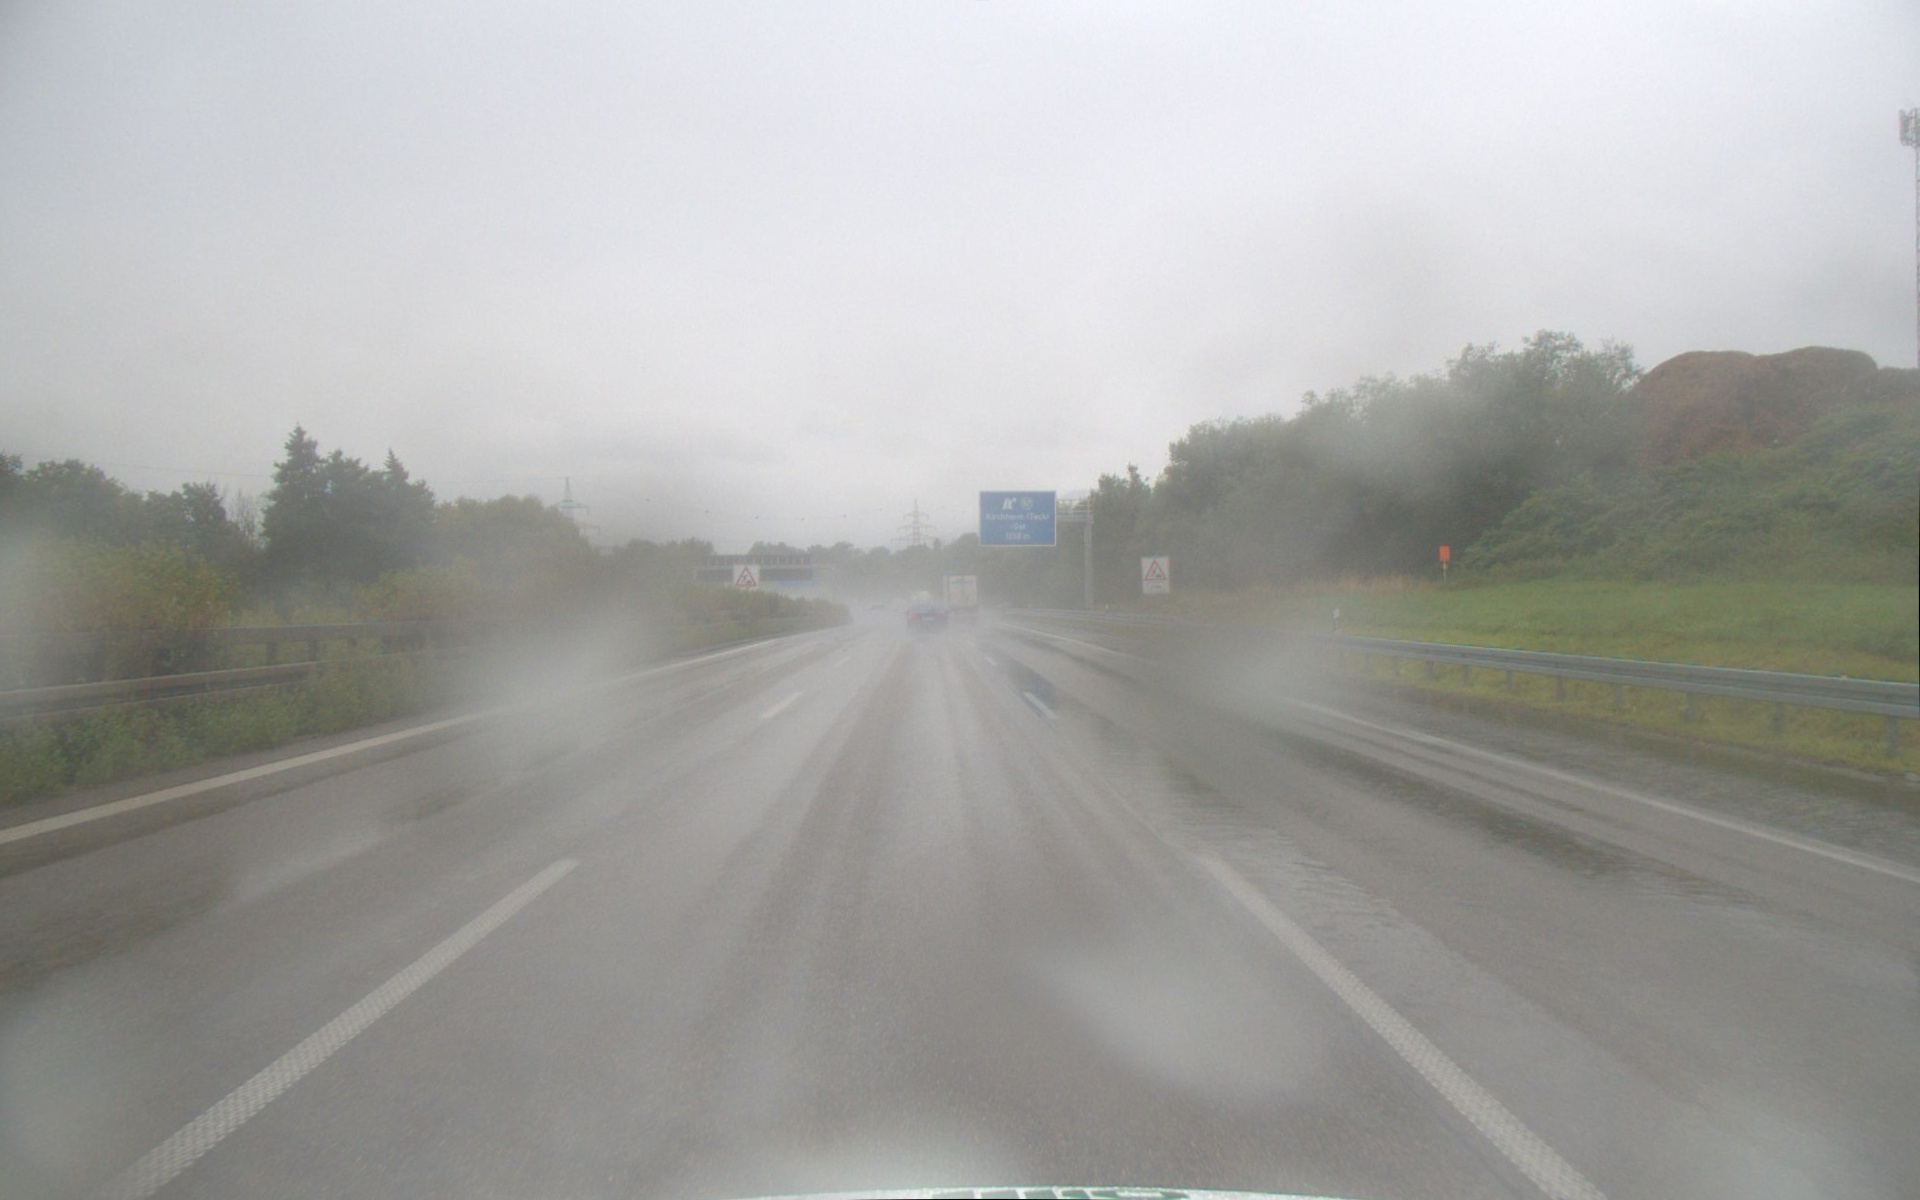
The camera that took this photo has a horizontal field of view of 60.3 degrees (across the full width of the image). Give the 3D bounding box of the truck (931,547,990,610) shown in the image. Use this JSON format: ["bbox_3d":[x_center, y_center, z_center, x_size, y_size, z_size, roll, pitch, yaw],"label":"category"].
[{"bbox_3d":[-0.111,-1.871,148.542,4.172,5.058,17.331,-3,0,-3],"label":"truck"}]

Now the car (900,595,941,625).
[{"bbox_3d":[-1.711,0.405,70.894,1.713,1.233,3.998,0,0,-2],"label":"car"}]
